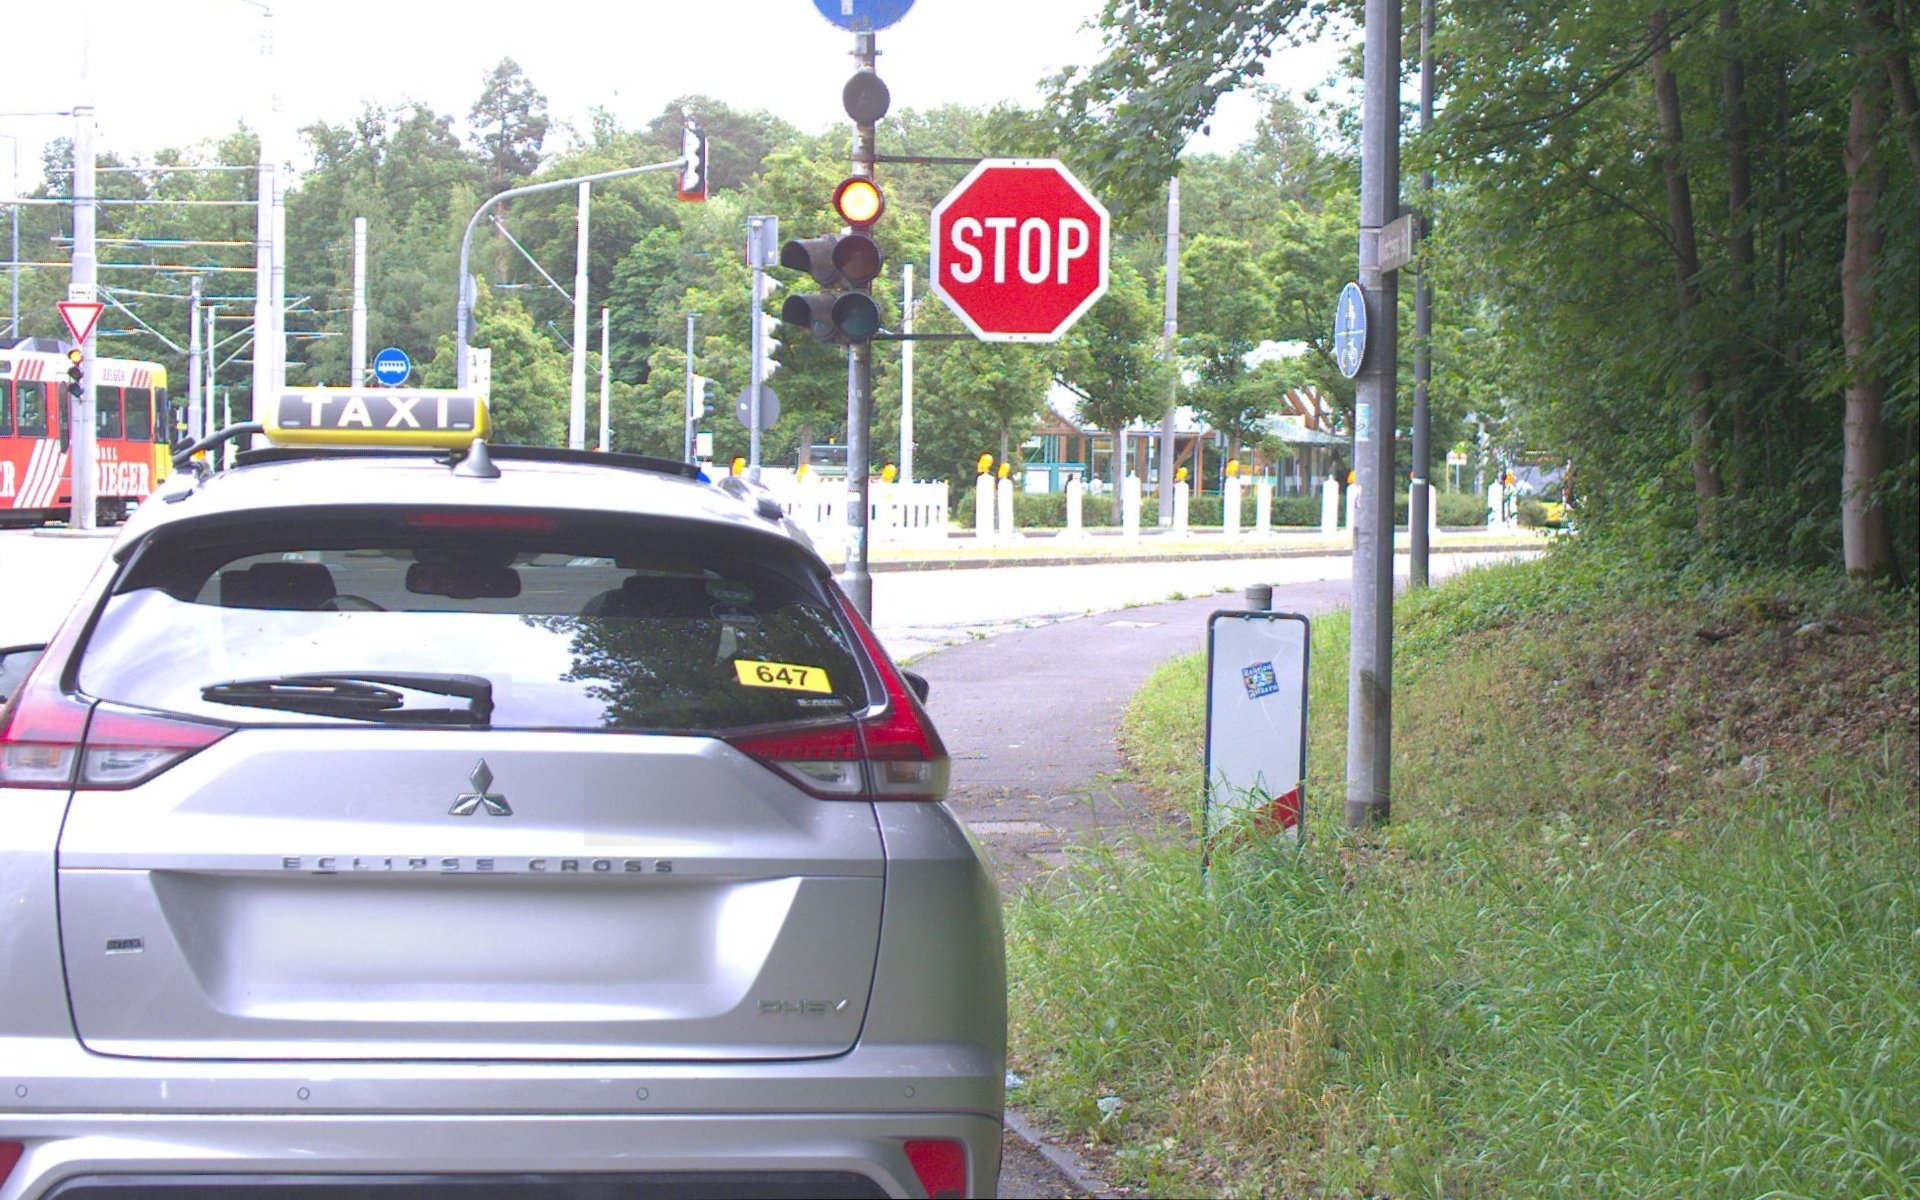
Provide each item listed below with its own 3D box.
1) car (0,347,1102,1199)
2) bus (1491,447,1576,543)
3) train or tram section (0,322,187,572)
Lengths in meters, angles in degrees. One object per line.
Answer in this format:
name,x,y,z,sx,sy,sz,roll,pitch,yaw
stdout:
car,-0.993,0.473,6.817,1.773,1.742,3.782,2,2,-9
bus,22.624,-4.209,136.032,2.822,3.590,12.801,1,2,8
train or tram section,-19.193,-2.861,64.531,2.947,4.634,18.540,1,1,7
